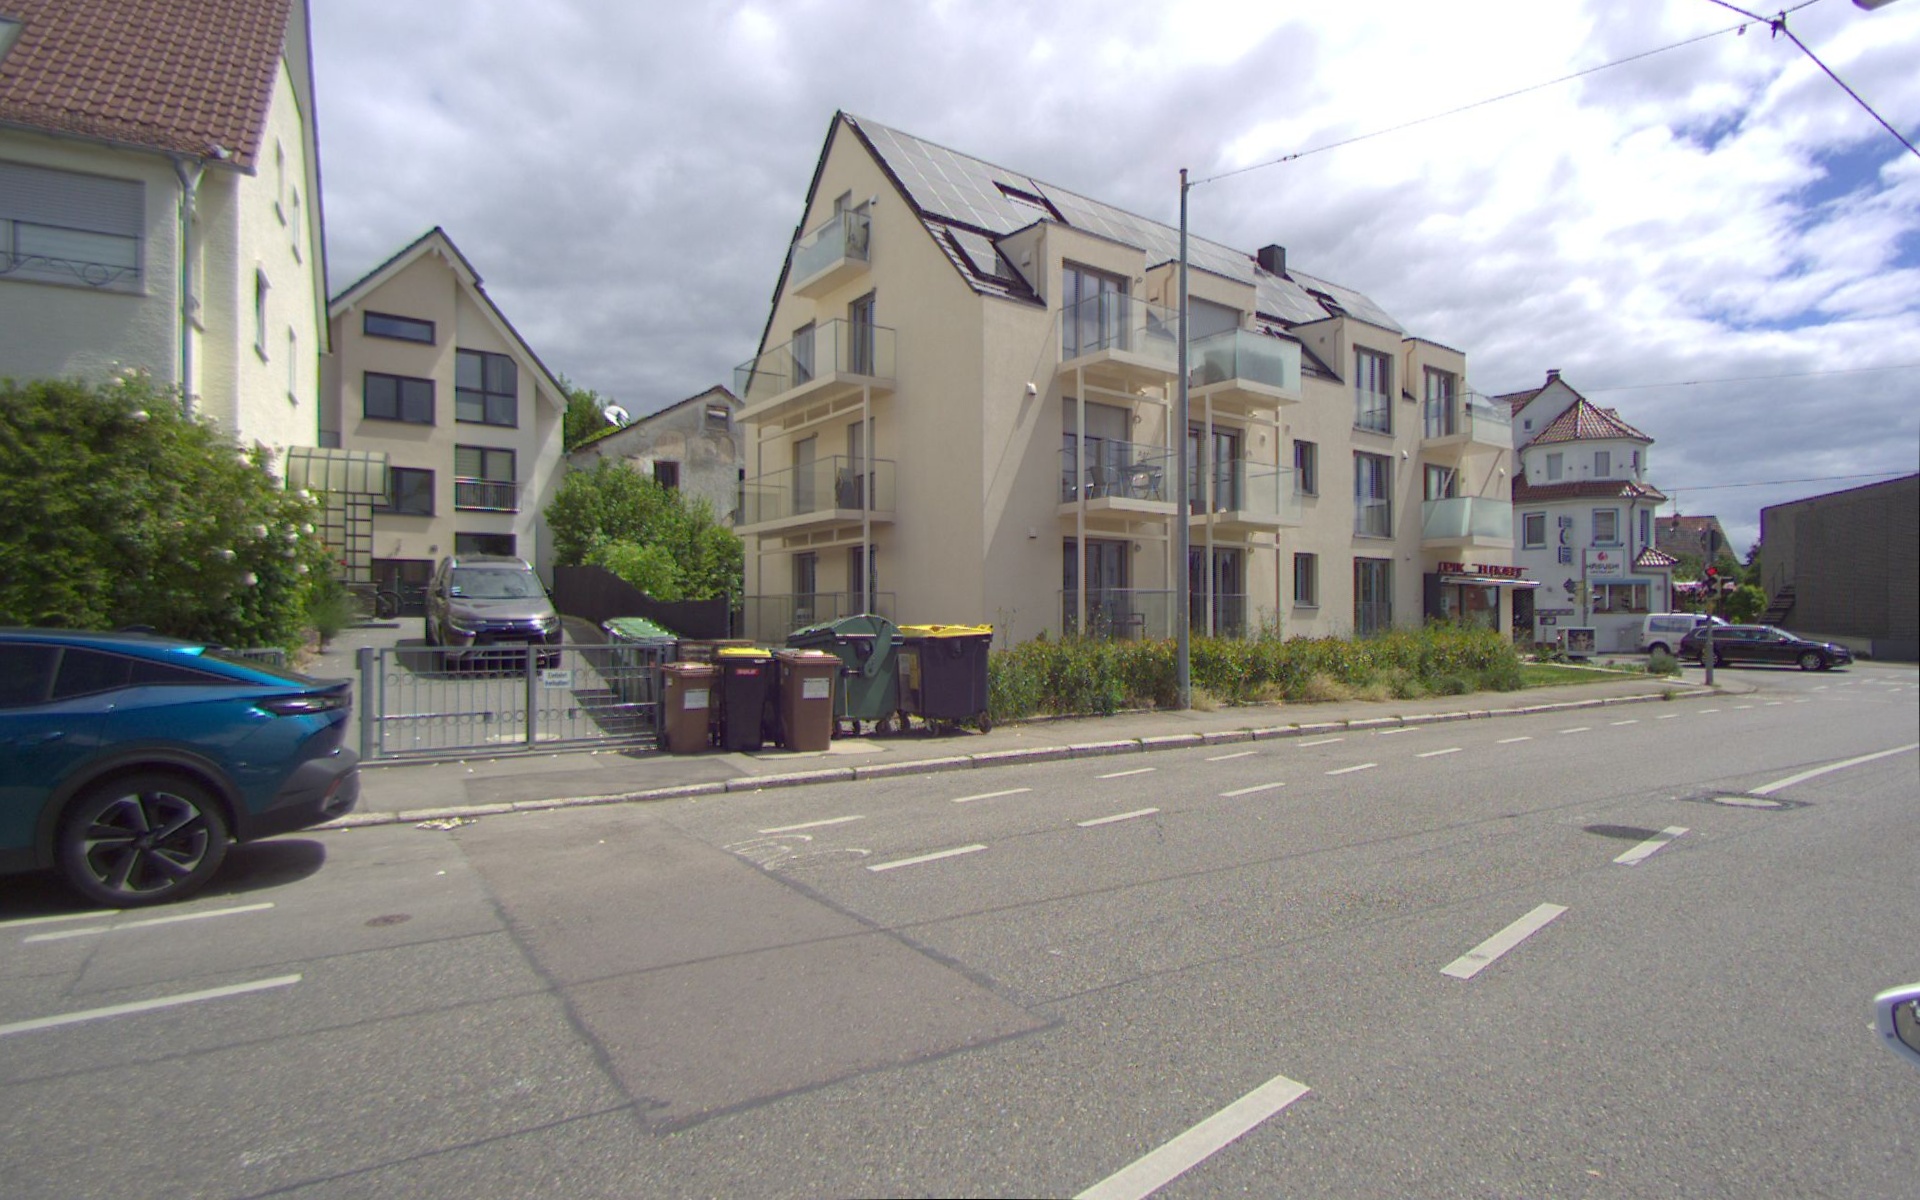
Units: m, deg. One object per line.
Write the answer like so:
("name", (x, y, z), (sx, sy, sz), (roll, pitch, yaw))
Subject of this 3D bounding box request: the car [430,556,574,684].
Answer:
("car", (-7.820, 0.233, 16.945), (1.783, 1.729, 3.966), (1, 4, -30))

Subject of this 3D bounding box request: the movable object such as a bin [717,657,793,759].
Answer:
("movable object such as a bin", (-2.224, 1.146, 10.872), (0.651, 1.037, 0.593), (1, -1, -30))

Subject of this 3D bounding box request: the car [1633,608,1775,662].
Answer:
("car", (28.402, 1.290, 38.427), (1.985, 1.873, 4.023), (1, 0, -41))

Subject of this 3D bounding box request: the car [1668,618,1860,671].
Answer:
("car", (27.669, 1.482, 34.729), (1.982, 1.598, 4.860), (1, 0, -37))

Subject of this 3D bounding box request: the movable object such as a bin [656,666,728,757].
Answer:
("movable object such as a bin", (-2.853, 1.162, 10.668), (0.607, 0.891, 0.593), (1, -1, -30))

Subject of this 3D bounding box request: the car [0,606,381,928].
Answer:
("car", (-5.811, 0.846, 5.576), (4.439, 1.608, 1.983), (1, -2, -32))

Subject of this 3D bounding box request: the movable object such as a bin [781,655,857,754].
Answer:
("movable object such as a bin", (-1.552, 1.129, 11.028), (0.651, 1.020, 0.593), (1, -1, -30))

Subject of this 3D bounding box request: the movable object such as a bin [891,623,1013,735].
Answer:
("movable object such as a bin", (-0.111, 0.960, 12.719), (1.199, 1.330, 1.061), (1, -1, -29))

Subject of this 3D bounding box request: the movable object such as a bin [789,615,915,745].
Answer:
("movable object such as a bin", (-1.341, 0.940, 12.390), (1.201, 1.501, 1.059), (1, -1, -32))
